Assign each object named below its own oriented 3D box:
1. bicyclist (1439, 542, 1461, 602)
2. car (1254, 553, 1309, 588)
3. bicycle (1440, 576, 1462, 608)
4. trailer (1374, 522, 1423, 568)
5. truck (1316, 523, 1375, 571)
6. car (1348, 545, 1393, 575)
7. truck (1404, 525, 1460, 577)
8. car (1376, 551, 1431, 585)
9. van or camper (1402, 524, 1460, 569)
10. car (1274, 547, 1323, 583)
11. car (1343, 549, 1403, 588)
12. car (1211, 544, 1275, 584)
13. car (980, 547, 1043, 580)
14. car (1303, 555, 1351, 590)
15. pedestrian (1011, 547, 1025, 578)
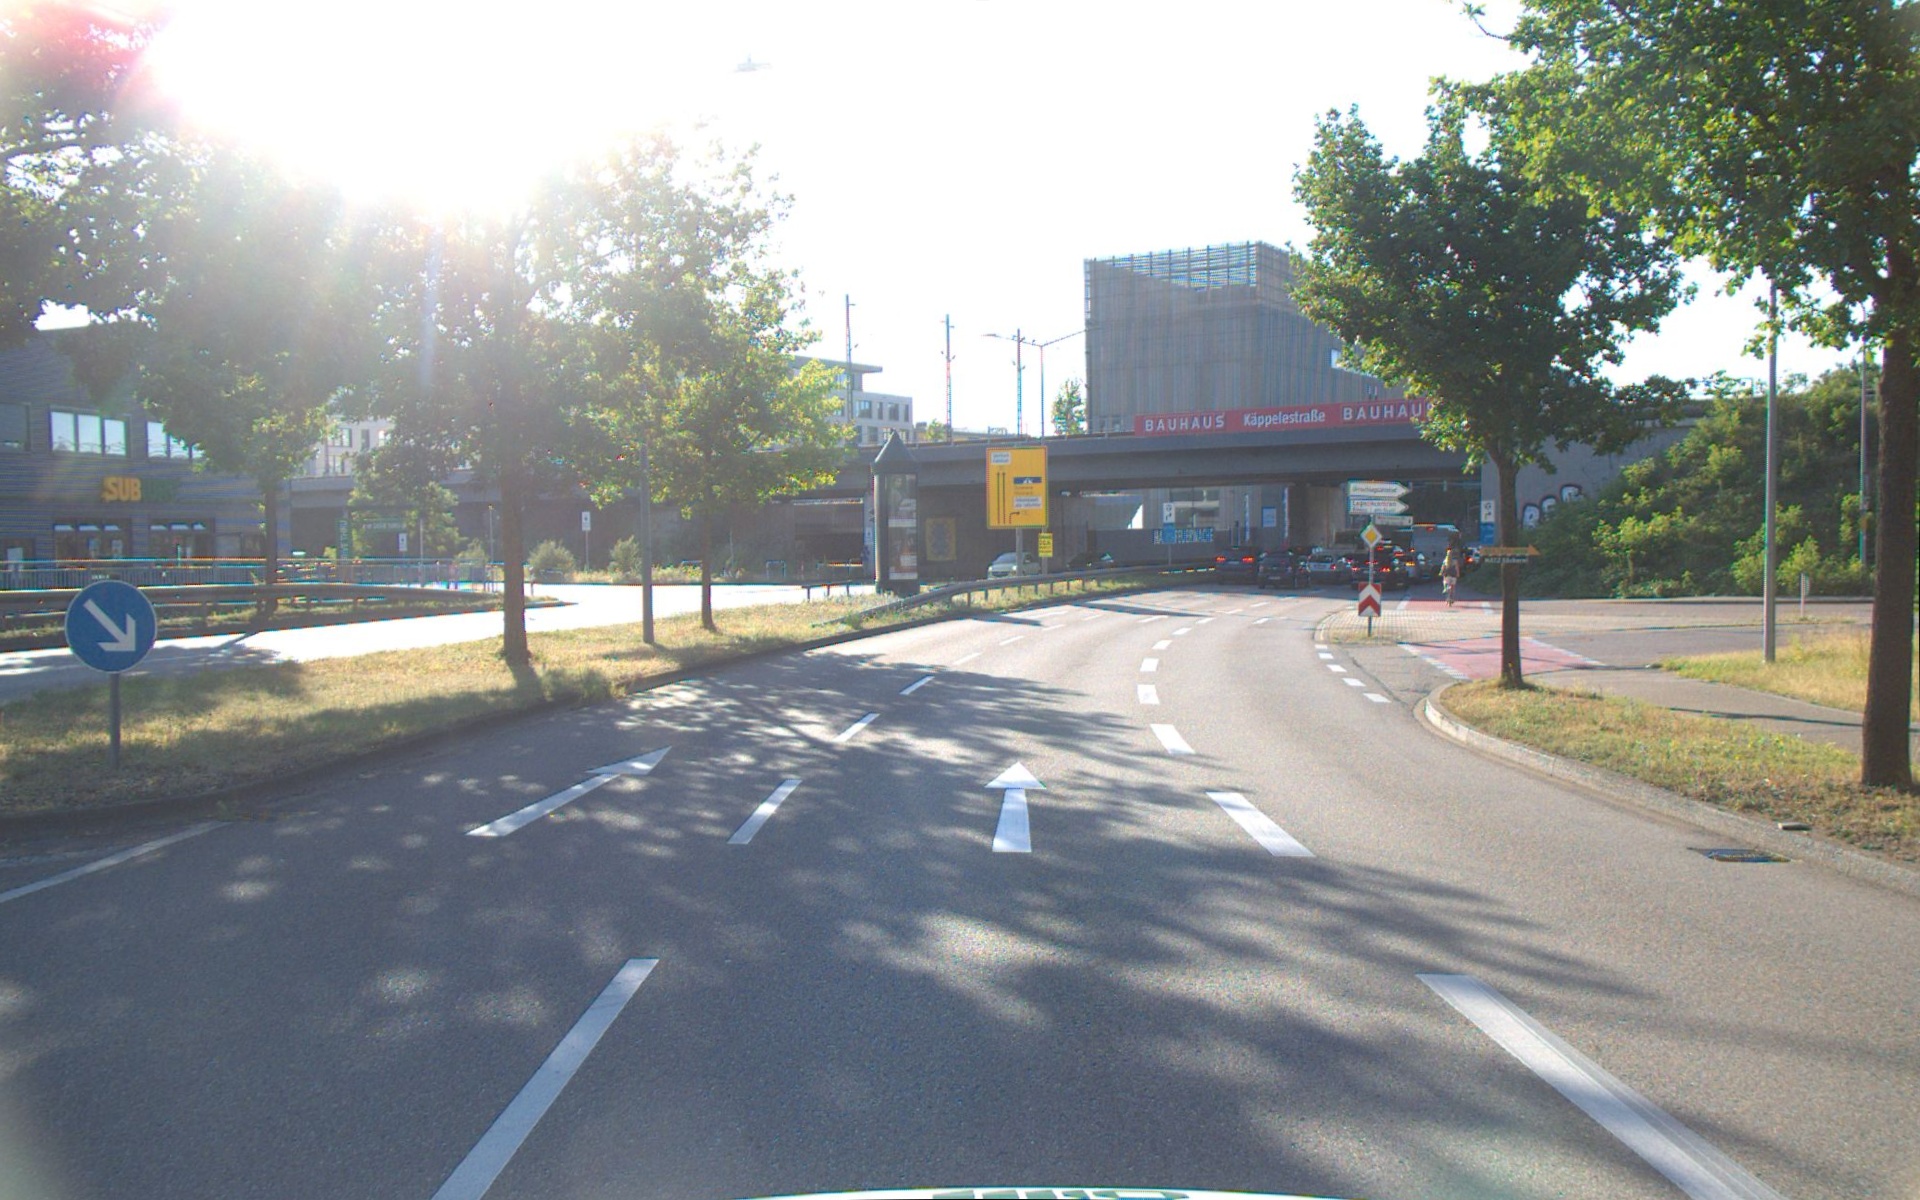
[{"bbox_3d":[15.980,-0.917,53.900,0.667,1.940,0.834,0,2,16],"label":"bicyclist"},{"bbox_3d":[13.793,-1.276,70.909,1.550,1.433,3.831,1,2,23],"label":"car"},{"bbox_3d":[15.967,-0.285,53.828,0.566,0.980,2.889,0,1,14],"label":"bicycle"},{"bbox_3d":[25.149,-3.133,94.775,1.828,2.508,3.826,-1,1,29],"label":"trailer"},{"bbox_3d":[21.937,-3.008,93.937,1.989,2.601,5.531,1,2,27],"label":"truck"},{"bbox_3d":[22.054,-2.159,88.771,1.551,1.558,3.828,1,2,27],"label":"car"},{"bbox_3d":[24.358,-2.474,85.185,2.070,2.563,4.397,0,1,26],"label":"truck"},{"bbox_3d":[20.969,-1.527,78.100,1.738,1.521,3.828,-1,1,27],"label":"car"},{"bbox_3d":[28.352,-3.229,99.432,1.957,2.615,5.905,1,2,31],"label":"van or camper"},{"bbox_3d":[17.939,-1.855,87.545,1.803,1.749,4.000,-3,0,22],"label":"car"},{"bbox_3d":[17.809,-1.395,71.203,1.706,1.479,4.605,1,4,24],"label":"car"},{"bbox_3d":[13.016,-1.675,75.886,1.793,1.768,4.459,0,2,25],"label":"car"},{"bbox_3d":[2.455,-1.712,78.110,1.705,1.488,3.765,-1,1,23],"label":"car"},{"bbox_3d":[17.137,-1.307,77.094,1.516,1.447,3.417,-3,1,23],"label":"car"},{"bbox_3d":[3.637,-2.329,103.877,0.681,1.936,0.664,1,2,29],"label":"pedestrian"}]
